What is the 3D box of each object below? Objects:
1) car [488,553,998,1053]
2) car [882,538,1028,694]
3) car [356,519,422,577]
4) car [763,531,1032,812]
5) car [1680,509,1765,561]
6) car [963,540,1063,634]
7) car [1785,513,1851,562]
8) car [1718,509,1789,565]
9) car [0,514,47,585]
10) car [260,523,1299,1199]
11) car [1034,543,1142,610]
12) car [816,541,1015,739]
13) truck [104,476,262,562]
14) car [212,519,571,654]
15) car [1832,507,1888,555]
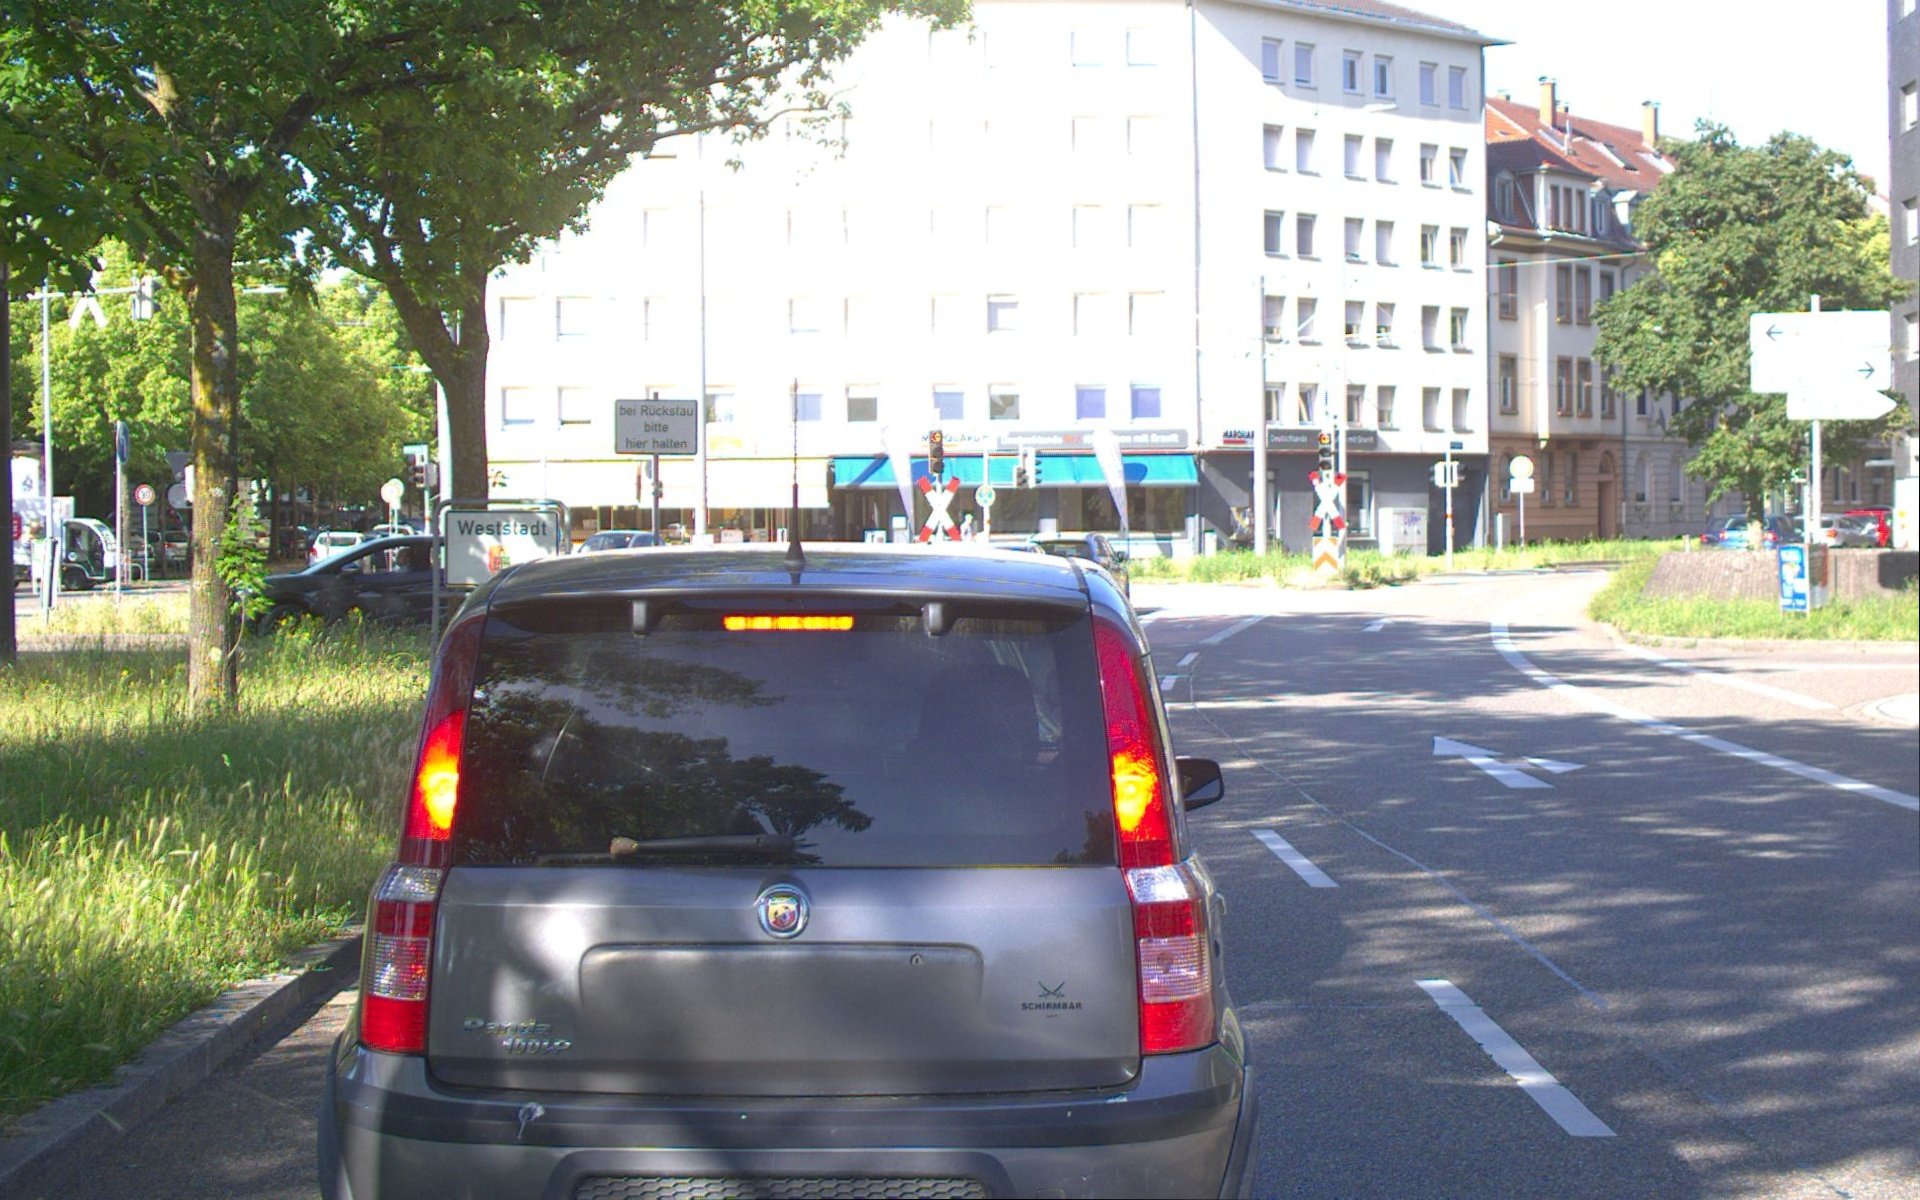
[{"bbox_3d":[-0.645,0.564,11.650,1.463,1.396,3.393,0,1,-1],"label":"car"},{"bbox_3d":[-0.063,0.123,33.873,1.356,1.444,3.266,-1,1,-1],"label":"car"},{"bbox_3d":[-20.513,-1.891,123.593,1.993,2.007,4.001,-1,1,-4],"label":"car"},{"bbox_3d":[-0.362,0.358,20.622,1.463,1.503,3.505,0,2,-1],"label":"car"},{"bbox_3d":[21.551,-1.846,97.095,1.684,1.444,3.567,0,2,23],"label":"car"},{"bbox_3d":[0.748,-0.211,49.562,1.356,1.277,2.876,0,1,-1],"label":"car"},{"bbox_3d":[23.451,-1.721,93.890,1.528,1.310,3.285,0,2,18],"label":"car"},{"bbox_3d":[20.881,-1.663,90.398,1.683,1.444,3.569,0,1,15],"label":"car"},{"bbox_3d":[-28.374,-1.428,98.053,4.176,2.007,1.932,-1,1,-2],"label":"car"},{"bbox_3d":[-0.303,0.599,7.428,1.628,1.503,4.000,-1,1,-1],"label":"car"},{"bbox_3d":[2.169,-0.410,57.678,1.143,1.060,2.719,0,1,17],"label":"car"},{"bbox_3d":[-0.348,0.270,27.253,1.463,1.420,3.381,0,2,-1],"label":"car"},{"bbox_3d":[-28.877,-2.993,127.785,5.485,3.158,2.340,0,1,28],"label":"truck"},{"bbox_3d":[-7.332,-0.196,44.202,4.444,1.642,1.833,-1,1,-13],"label":"car"},{"bbox_3d":[28.073,-2.159,107.202,1.528,1.464,3.285,0,2,18],"label":"car"}]
